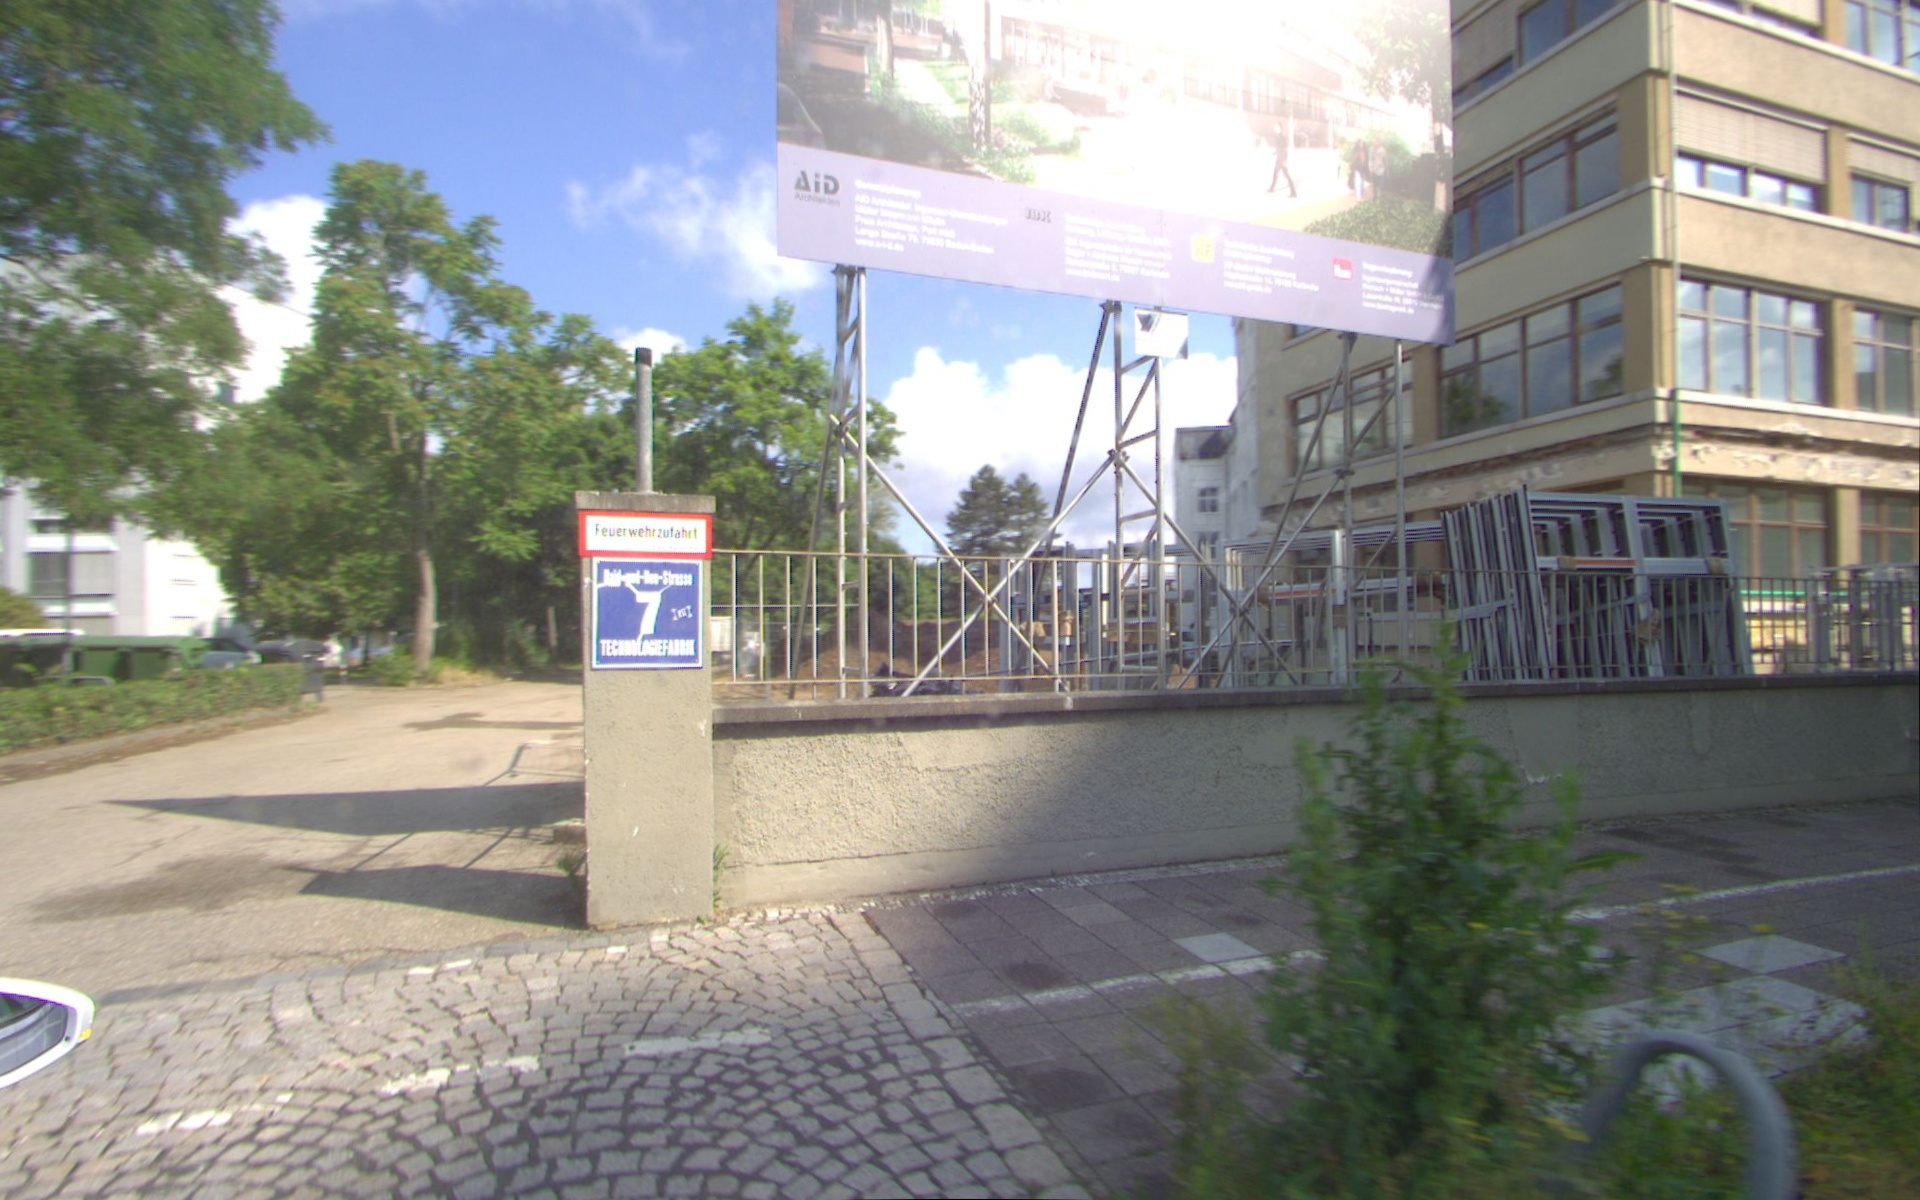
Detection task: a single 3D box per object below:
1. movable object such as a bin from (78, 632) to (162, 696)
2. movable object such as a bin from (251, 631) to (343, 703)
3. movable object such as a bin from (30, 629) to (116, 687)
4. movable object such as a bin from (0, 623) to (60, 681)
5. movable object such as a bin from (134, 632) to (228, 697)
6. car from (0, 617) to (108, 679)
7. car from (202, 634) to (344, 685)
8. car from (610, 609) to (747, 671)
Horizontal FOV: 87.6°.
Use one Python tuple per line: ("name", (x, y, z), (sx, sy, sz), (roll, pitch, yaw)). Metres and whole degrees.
("movable object such as a bin", (-19.963, 1.506, 23.819), (1.210, 1.470, 0.880), (1, -1, 2))
("movable object such as a bin", (-15.103, 1.519, 22.827), (1.275, 1.501, 1.245), (3, -1, 28))
("movable object such as a bin", (-21.335, 1.386, 24.107), (1.210, 1.366, 0.947), (1, -1, 2))
("movable object such as a bin", (-22.786, 1.239, 24.099), (1.354, 1.366, 0.947), (1, -1, 2))
("movable object such as a bin", (-18.465, 1.513, 23.763), (1.317, 1.470, 1.103), (1, -1, 2))
("car", (-32.141, 1.621, 33.852), (1.962, 1.990, 4.953), (-2, 0, 10))
("car", (-22.806, 1.931, 33.439), (1.725, 1.439, 3.914), (0, 0, 8))
("car", (-15.150, 2.156, 54.217), (6.843, 3.088, 1.999), (2, 0, -8))
